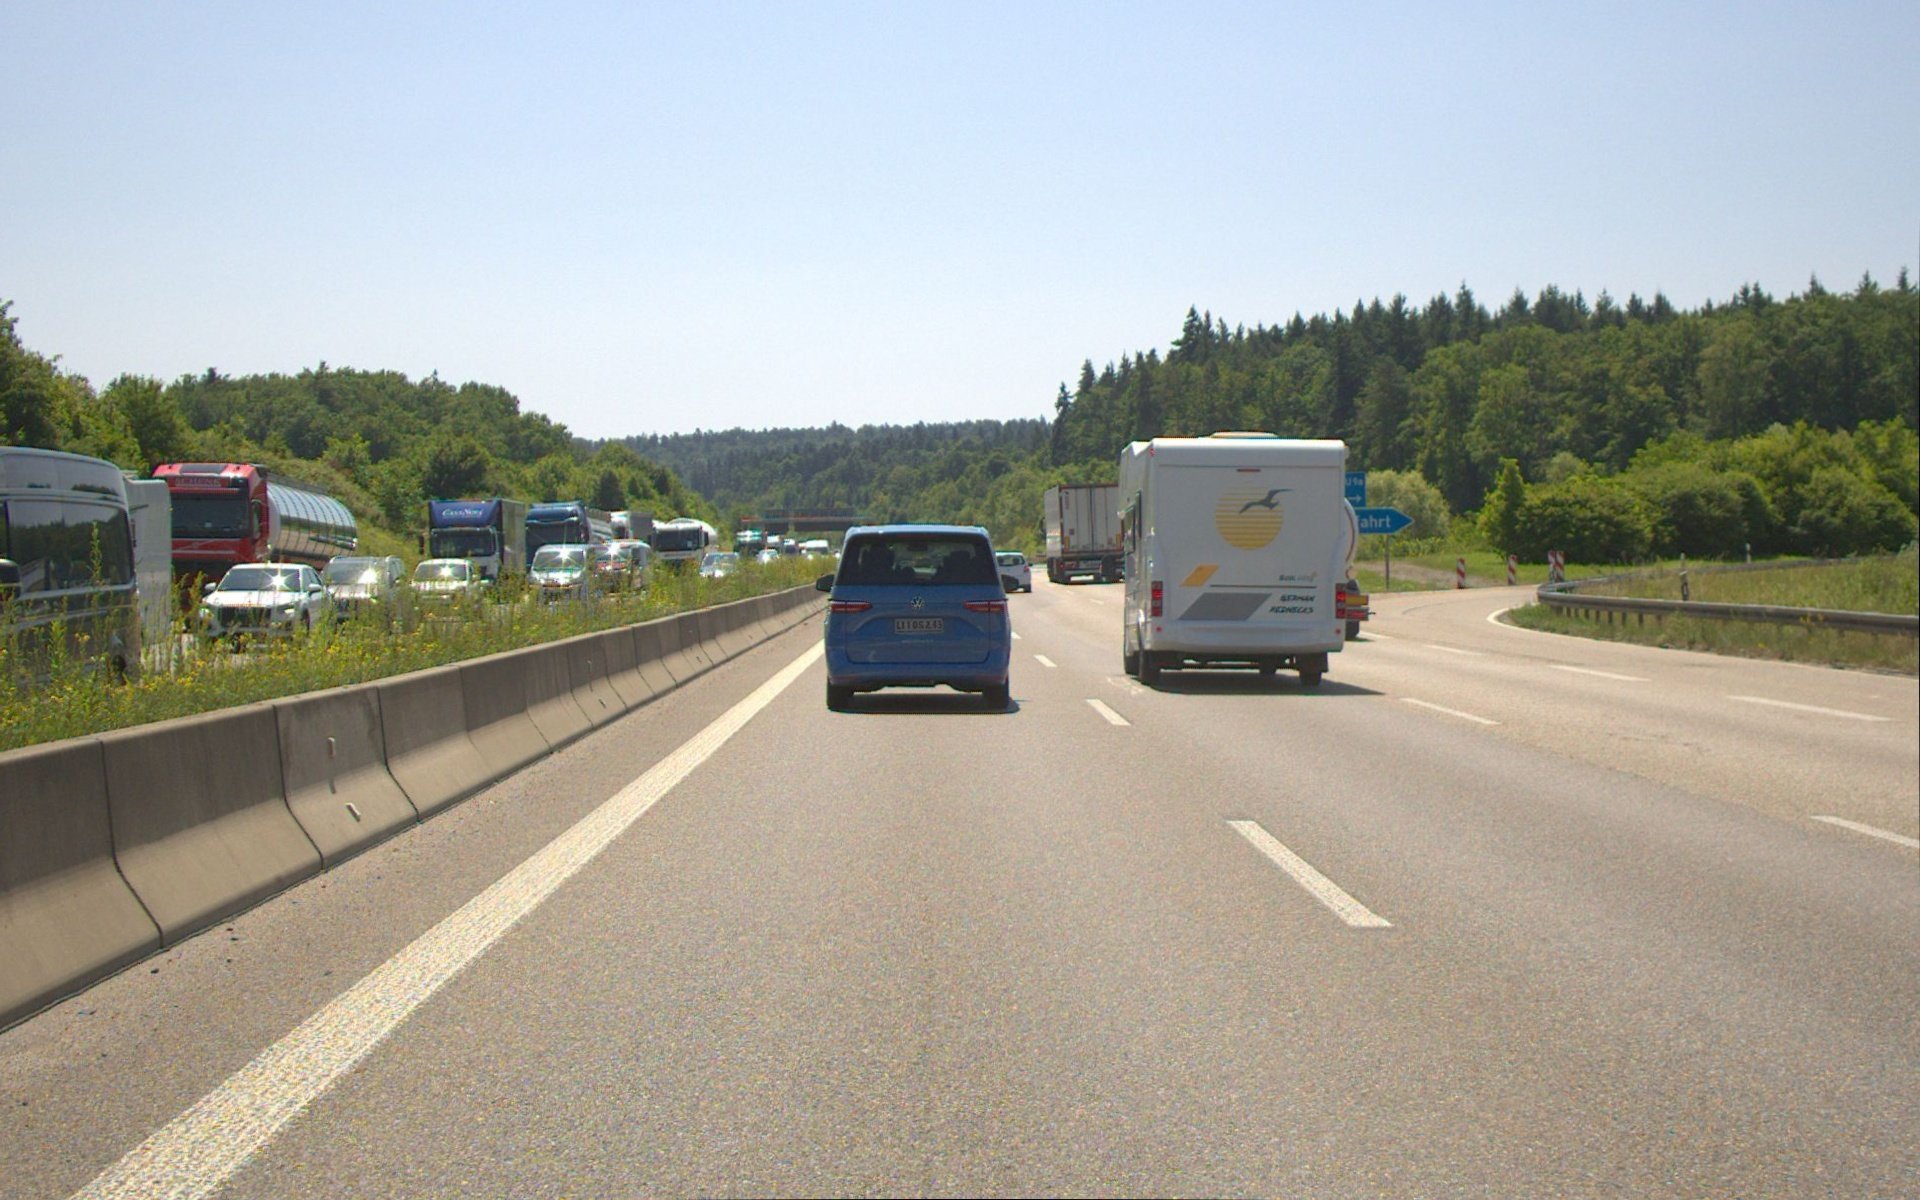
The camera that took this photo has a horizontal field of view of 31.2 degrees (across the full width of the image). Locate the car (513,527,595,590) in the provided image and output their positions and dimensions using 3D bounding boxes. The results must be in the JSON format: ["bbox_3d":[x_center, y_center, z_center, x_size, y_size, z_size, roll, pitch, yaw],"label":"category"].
[{"bbox_3d":[-12.890,-1.310,109.376,2.023,1.951,5.095,0,1,-1],"label":"car"}]

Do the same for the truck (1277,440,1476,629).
[{"bbox_3d":[8.374,-1.385,70.155,2.928,3.562,8.527,-1,2,0],"label":"truck"}]

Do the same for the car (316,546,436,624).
[{"bbox_3d":[-12.267,-0.328,72.421,1.754,1.578,4.785,0,1,-1],"label":"car"}]

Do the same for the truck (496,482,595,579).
[{"bbox_3d":[-17.810,-2.948,147.994,3.490,4.023,6.644,1,0,-1],"label":"truck"}]

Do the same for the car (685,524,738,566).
[{"bbox_3d":[-9.653,-2.119,133.958,1.754,1.578,4.854,0,1,-1],"label":"car"}]

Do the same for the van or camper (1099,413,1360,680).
[{"bbox_3d":[3.268,-0.654,43.407,2.603,3.068,7.182,1,1,-1],"label":"van or camper"}]

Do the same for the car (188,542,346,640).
[{"bbox_3d":[-11.947,-0.164,59.509,1.882,1.622,4.359,0,1,-1],"label":"car"}]

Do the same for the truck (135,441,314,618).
[{"bbox_3d":[-16.594,-1.570,77.932,2.783,3.810,6.032,1,0,-1],"label":"truck"}]

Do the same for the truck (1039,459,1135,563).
[{"bbox_3d":[5.228,-3.629,143.132,3.487,4.156,8.642,1,1,-1],"label":"truck"}]

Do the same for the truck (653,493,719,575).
[{"bbox_3d":[-13.404,-3.190,168.846,2.618,3.876,7.403,-1,1,-1],"label":"truck"}]

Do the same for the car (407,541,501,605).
[{"bbox_3d":[-12.729,-0.686,86.709,1.754,1.544,4.189,1,1,-1],"label":"car"}]

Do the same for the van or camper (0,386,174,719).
[{"bbox_3d":[-8.183,-0.361,27.402,2.297,2.426,7.284,0,1,-1],"label":"van or camper"}]

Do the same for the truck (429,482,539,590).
[{"bbox_3d":[-16.836,-2.243,122.174,2.545,3.662,9.938,0,1,0],"label":"truck"}]

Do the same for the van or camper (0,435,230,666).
[{"bbox_3d":[-12.370,-0.666,47.880,2.545,2.927,8.131,0,1,1],"label":"van or camper"}]

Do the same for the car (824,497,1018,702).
[{"bbox_3d":[-0.412,-0.066,36.282,1.909,2.006,4.001,-1,2,-1],"label":"car"}]

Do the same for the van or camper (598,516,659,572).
[{"bbox_3d":[-13.168,-2.221,136.794,1.993,2.145,4.718,-2,1,-1],"label":"van or camper"}]

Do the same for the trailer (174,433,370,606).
[{"bbox_3d":[-16.743,-1.939,84.556,2.679,3.936,12.276,0,1,-1],"label":"trailer"}]

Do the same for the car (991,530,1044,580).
[{"bbox_3d":[2.089,-1.631,125.873,1.818,1.788,3.894,1,1,-1],"label":"car"}]
